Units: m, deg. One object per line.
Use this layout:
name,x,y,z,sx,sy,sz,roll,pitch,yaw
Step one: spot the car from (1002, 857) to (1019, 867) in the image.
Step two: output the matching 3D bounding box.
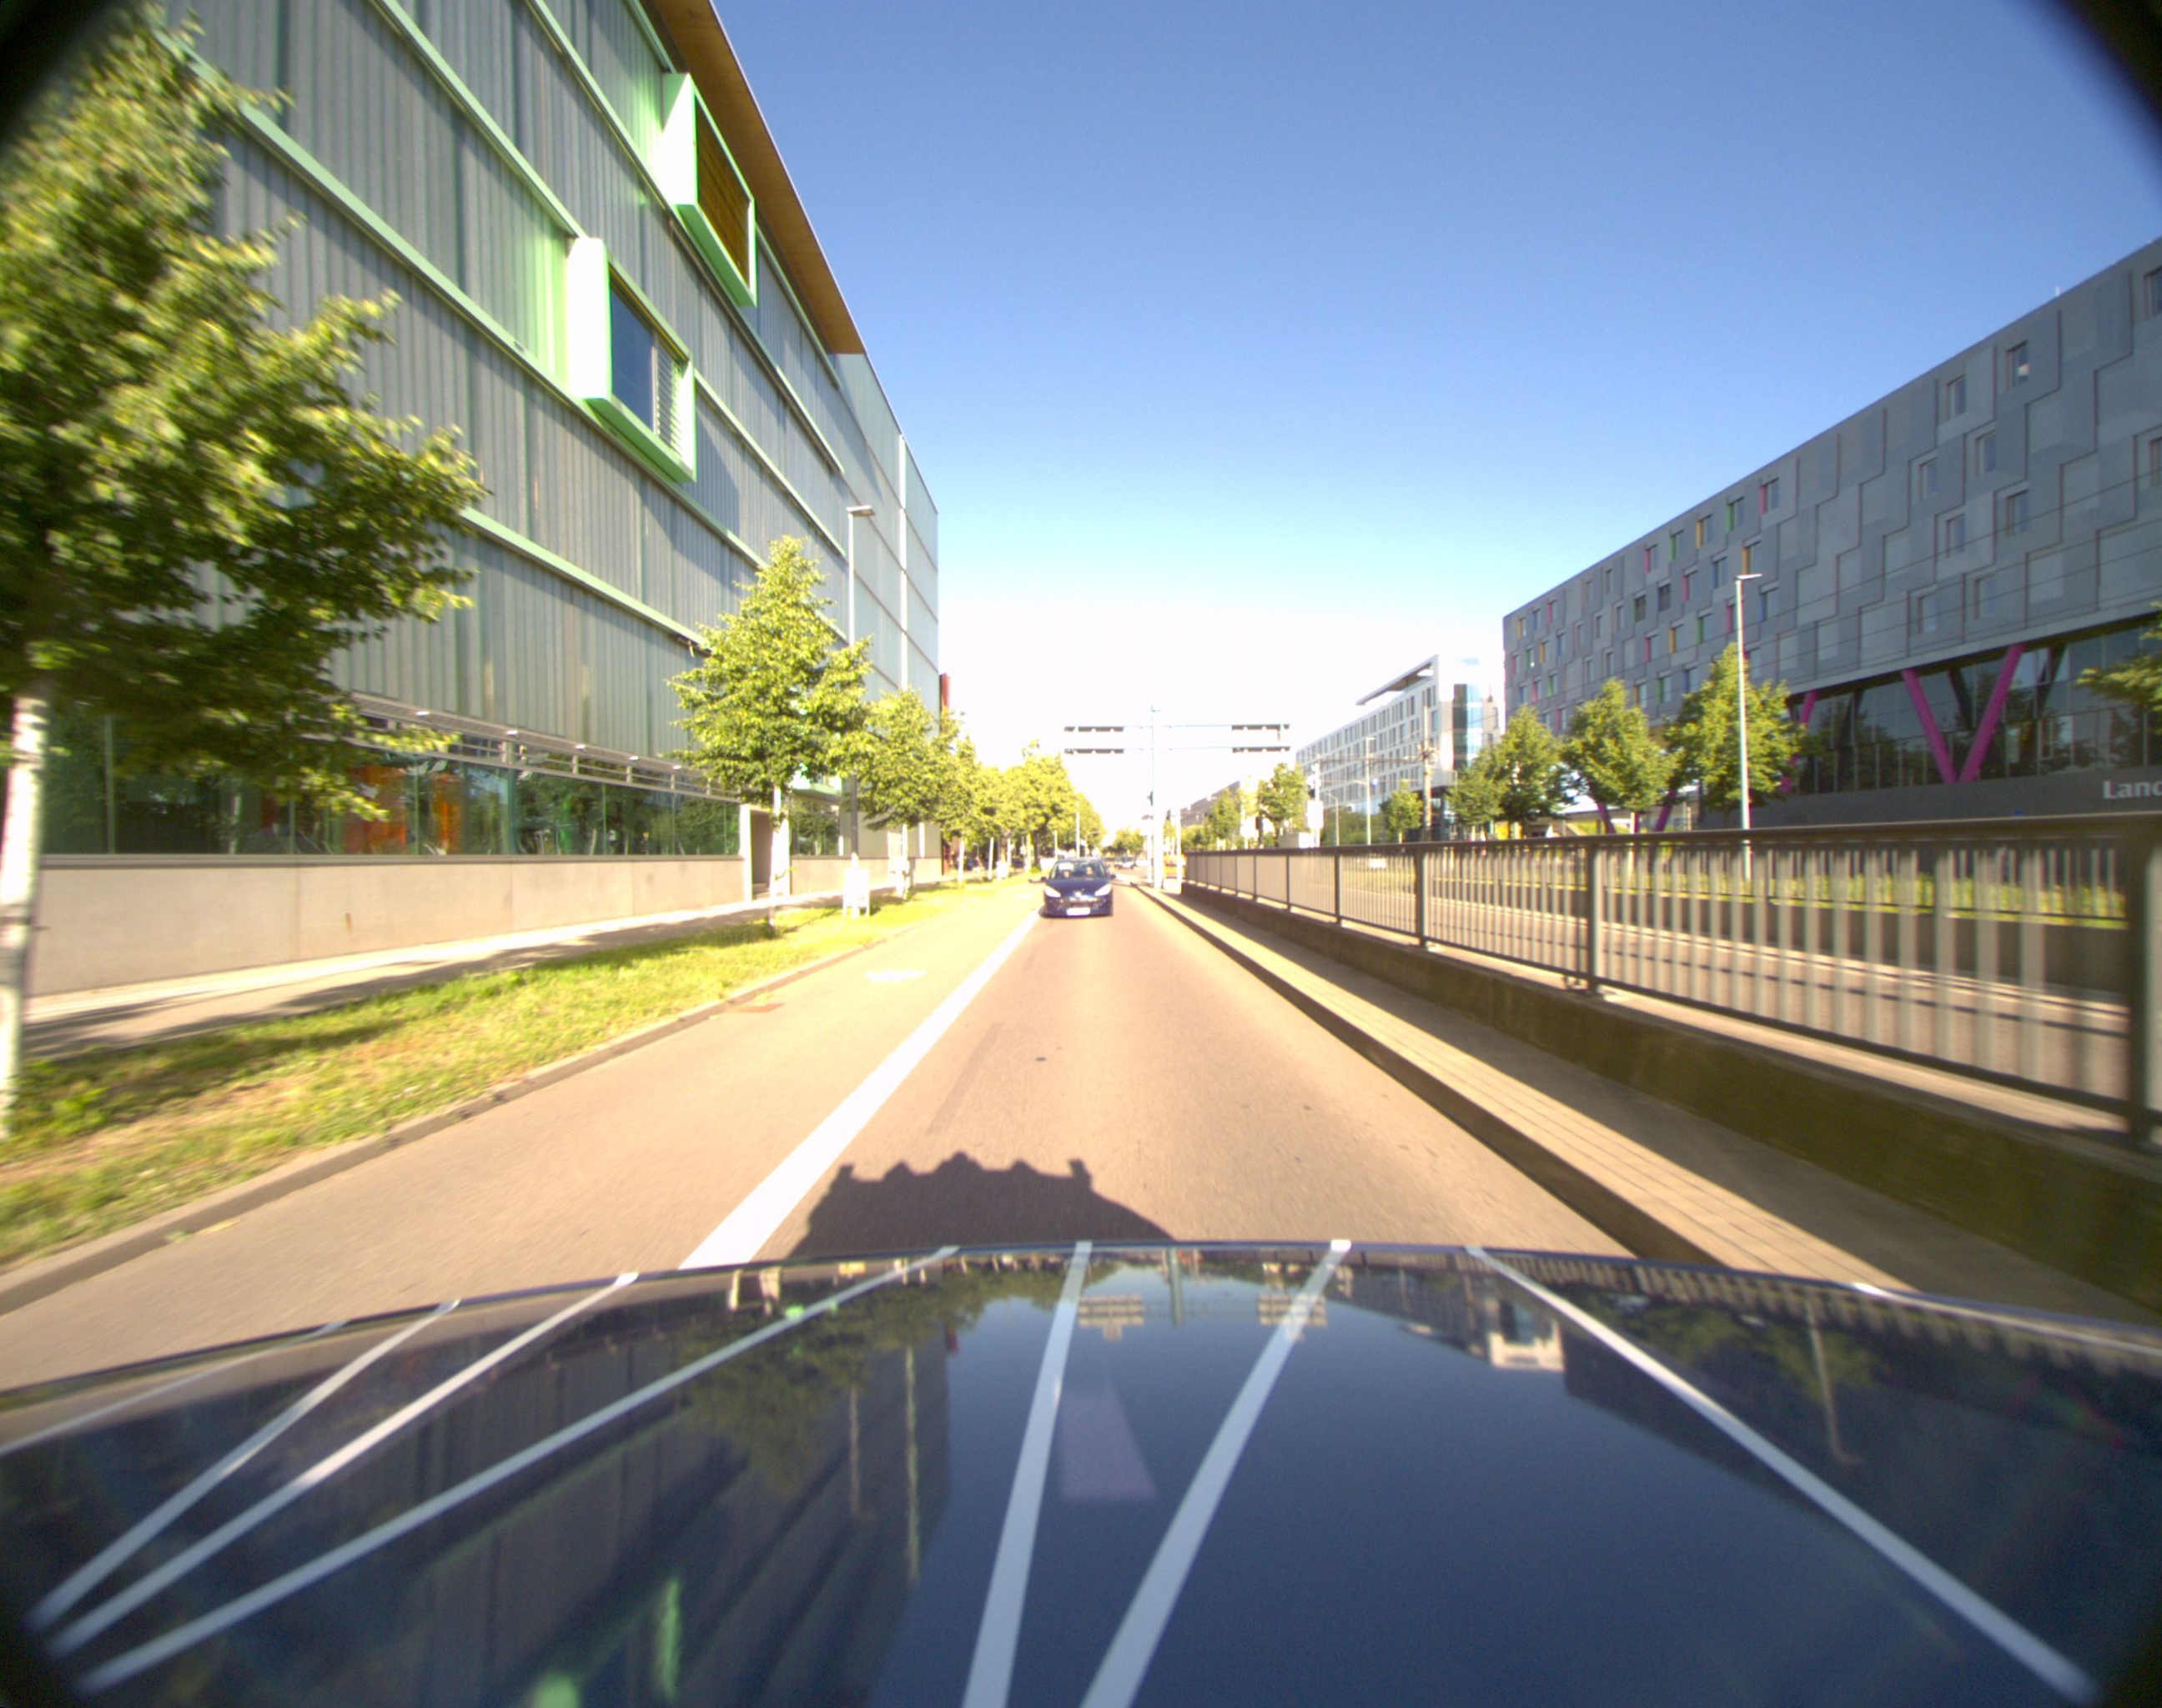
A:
car,-11.117,1.235,120.083,1.898,1.456,4.038,-2,0,4

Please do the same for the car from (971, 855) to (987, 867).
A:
car,-18.112,1.239,135.522,1.898,2.025,5.071,0,0,4

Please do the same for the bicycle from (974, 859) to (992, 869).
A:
bicycle,-11.909,1.225,92.093,2.100,1.196,0.552,-1,0,13

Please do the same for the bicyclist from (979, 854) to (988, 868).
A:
bicyclist,-11.843,0.865,92.051,0.876,1.727,0.833,-1,0,13

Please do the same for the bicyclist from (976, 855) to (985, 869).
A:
bicyclist,-12.028,0.916,91.138,0.876,1.644,0.794,-1,0,13

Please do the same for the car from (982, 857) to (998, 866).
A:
car,-17.369,1.456,145.277,1.897,1.477,4.916,-2,0,6

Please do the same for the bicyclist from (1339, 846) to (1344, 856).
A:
bicyclist,44.725,-0.454,130.492,0.531,1.716,0.837,-1,0,2

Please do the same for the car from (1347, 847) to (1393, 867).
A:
car,24.495,0.242,64.584,1.998,1.553,4.871,-1,0,0

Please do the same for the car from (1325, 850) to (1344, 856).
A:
car,61.550,-0.248,184.644,3.998,1.347,1.876,-3,0,-3

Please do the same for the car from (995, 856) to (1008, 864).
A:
car,-16.618,1.280,159.179,1.998,1.520,4.654,1,0,1

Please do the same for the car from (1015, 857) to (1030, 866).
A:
car,-10.300,1.243,133.889,1.898,1.479,4.348,-2,0,6

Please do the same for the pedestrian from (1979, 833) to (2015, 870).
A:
pedestrian,45.162,-0.132,37.467,0.722,1.811,0.871,-1,0,2

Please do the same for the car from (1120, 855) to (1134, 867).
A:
car,5.660,0.866,93.867,1.675,1.418,4.006,-3,0,2

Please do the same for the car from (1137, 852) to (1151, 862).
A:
car,9.842,0.471,119.429,1.676,1.418,4.005,-3,0,-2

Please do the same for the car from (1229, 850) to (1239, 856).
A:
car,39.880,-0.280,198.087,1.875,1.347,4.000,-3,0,2

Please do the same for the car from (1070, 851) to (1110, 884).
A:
car,0.526,0.671,39.490,1.802,1.518,4.606,-3,0,3

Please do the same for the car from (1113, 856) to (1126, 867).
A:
car,5.973,1.154,118.317,1.840,1.483,4.005,-3,0,0

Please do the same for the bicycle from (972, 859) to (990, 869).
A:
bicycle,-12.048,1.228,91.162,2.100,1.196,0.552,-1,0,16

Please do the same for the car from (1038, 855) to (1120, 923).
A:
car,0.070,0.840,20.507,1.802,1.518,4.606,-3,0,4
